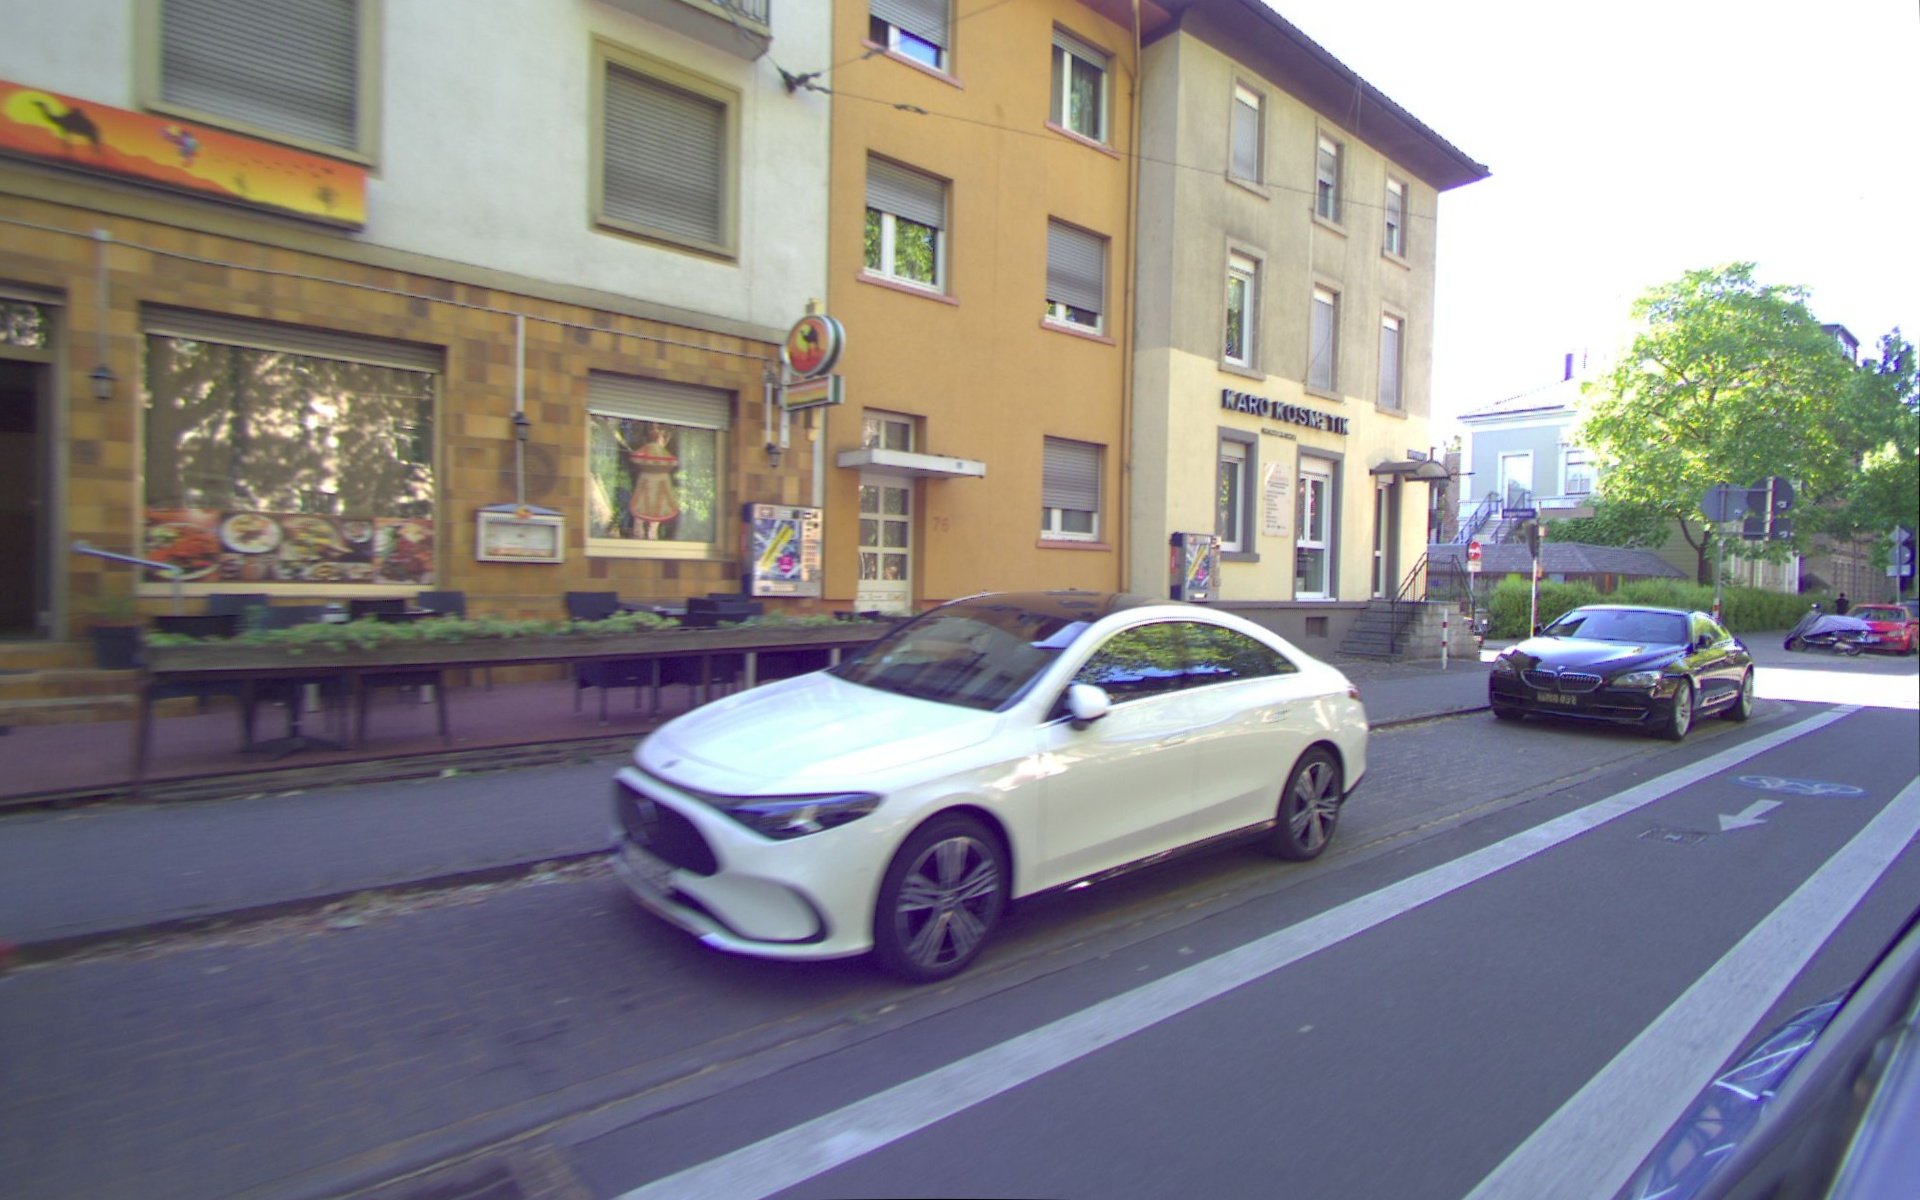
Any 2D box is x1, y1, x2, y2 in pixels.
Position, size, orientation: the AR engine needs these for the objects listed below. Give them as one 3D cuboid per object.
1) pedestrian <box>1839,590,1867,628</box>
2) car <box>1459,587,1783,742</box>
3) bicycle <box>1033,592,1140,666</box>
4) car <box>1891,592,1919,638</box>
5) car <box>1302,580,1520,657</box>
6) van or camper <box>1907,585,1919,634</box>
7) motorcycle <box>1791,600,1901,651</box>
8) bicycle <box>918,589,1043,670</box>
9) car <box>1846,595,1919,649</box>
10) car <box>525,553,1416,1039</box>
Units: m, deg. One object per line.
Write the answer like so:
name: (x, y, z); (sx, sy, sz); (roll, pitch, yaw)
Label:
pedestrian: (40.135, 0.398, 45.487); (0.869, 1.699, 0.813); (0, 0, -41)
car: (8.008, 0.607, 12.078); (4.657, 1.397, 1.998); (0, 4, -41)
bicycle: (1.854, 0.396, 14.669); (1.826, 1.010, 0.427); (0, 1, -41)
car: (33.866, 0.514, 35.205); (4.071, 1.505, 1.694); (0, 3, -41)
car: (10.772, 0.403, 24.484); (1.866, 1.660, 4.462); (3, -1, -36)
van or camper: (37.613, 0.389, 38.564); (4.365, 1.804, 1.694); (0, 3, -41)
motorcycle: (24.078, 0.665, 27.530); (0.812, 1.172, 2.074); (0, 4, -36)
bicycle: (0.299, 0.361, 13.357); (1.826, 1.010, 0.427); (0, 1, -41)
car: (27.159, 0.594, 29.372); (3.797, 1.397, 1.607); (0, 3, -41)
car: (0.370, 0.592, 5.513); (4.656, 1.511, 1.998); (0, 3, -40)
